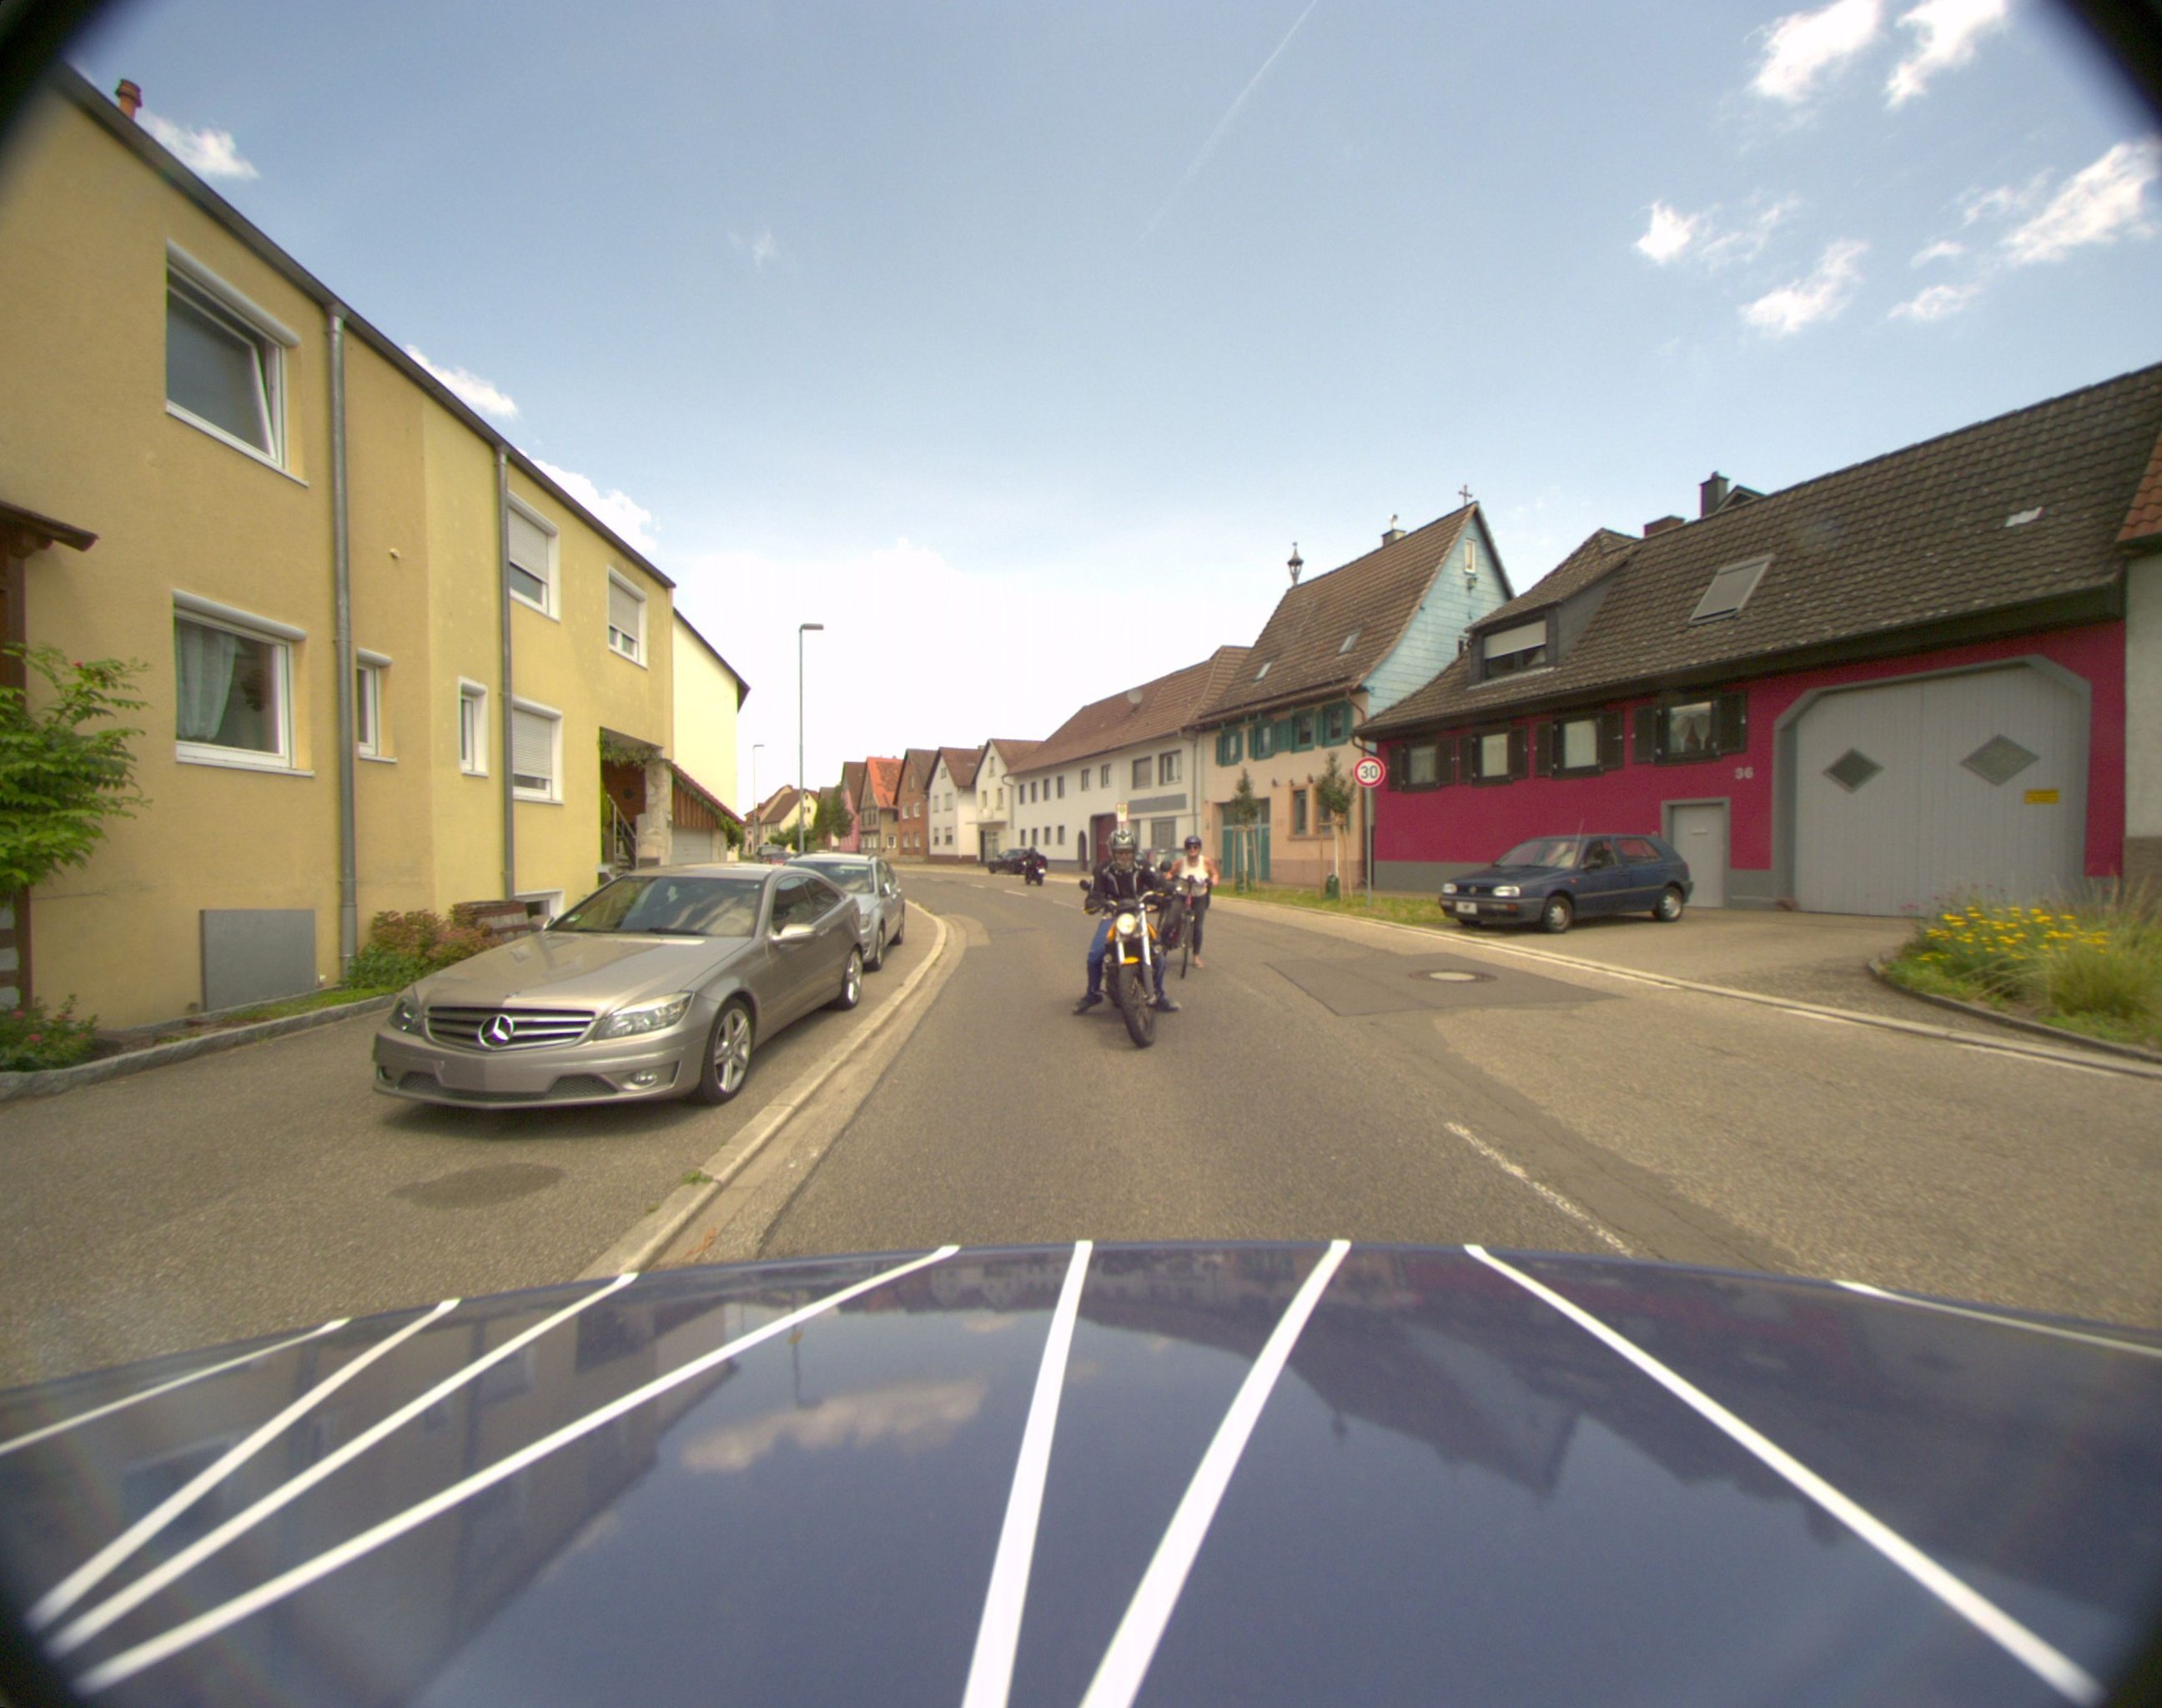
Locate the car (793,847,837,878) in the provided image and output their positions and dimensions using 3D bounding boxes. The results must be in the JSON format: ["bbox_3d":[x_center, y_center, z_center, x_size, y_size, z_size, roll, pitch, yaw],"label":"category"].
[{"bbox_3d":[-14.130,0.479,40.248,1.776,1.521,3.992,-1,-1,-25],"label":"car"}]

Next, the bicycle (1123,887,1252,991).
[{"bbox_3d":[1.214,0.956,9.184,0.935,1.005,1.922,-2,0,-12],"label":"bicycle"}]

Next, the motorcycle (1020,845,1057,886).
[{"bbox_3d":[-1.676,0.440,29.905,0.884,1.552,1.964,-2,1,-20],"label":"motorcycle"}]

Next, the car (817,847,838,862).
[{"bbox_3d":[-28.125,0.031,84.255,1.687,1.522,3.490,-3,3,-27],"label":"car"}]

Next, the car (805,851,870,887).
[{"bbox_3d":[-10.826,0.622,33.613,1.731,1.378,3.989,-1,2,-33],"label":"car"}]

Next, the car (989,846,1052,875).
[{"bbox_3d":[-3.361,0.317,41.244,1.812,1.412,4.540,-3,1,-26],"label":"car"}]

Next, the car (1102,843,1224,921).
[{"bbox_3d":[1.831,0.574,18.193,1.505,1.532,3.850,-4,3,-15],"label":"car"}]

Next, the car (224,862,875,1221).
[{"bbox_3d":[-2.970,0.876,5.612,1.775,1.392,4.422,2,2,-2],"label":"car"}]

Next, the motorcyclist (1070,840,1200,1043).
[{"bbox_3d":[0.437,0.697,6.465,1.000,1.591,0.799,-1,3,0],"label":"motorcyclist"}]

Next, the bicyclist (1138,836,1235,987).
[{"bbox_3d":[1.232,0.638,8.982,0.910,1.679,0.760,-2,3,-11],"label":"bicyclist"}]

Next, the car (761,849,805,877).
[{"bbox_3d":[-19.282,0.568,49.090,1.669,1.638,3.989,-3,2,-36],"label":"car"}]

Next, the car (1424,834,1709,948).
[{"bbox_3d":[7.614,0.486,11.941,3.983,1.456,1.718,-2,2,-21],"label":"car"}]

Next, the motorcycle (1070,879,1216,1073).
[{"bbox_3d":[0.444,0.905,6.462,0.985,1.234,2.103,-3,1,0],"label":"motorcycle"}]

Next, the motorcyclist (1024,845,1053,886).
[{"bbox_3d":[-1.678,0.446,29.838,0.900,1.546,0.805,-2,1,-23],"label":"motorcyclist"}]

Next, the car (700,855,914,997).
[{"bbox_3d":[-3.575,0.835,10.802,1.891,1.521,4.332,2,1,-7],"label":"car"}]
